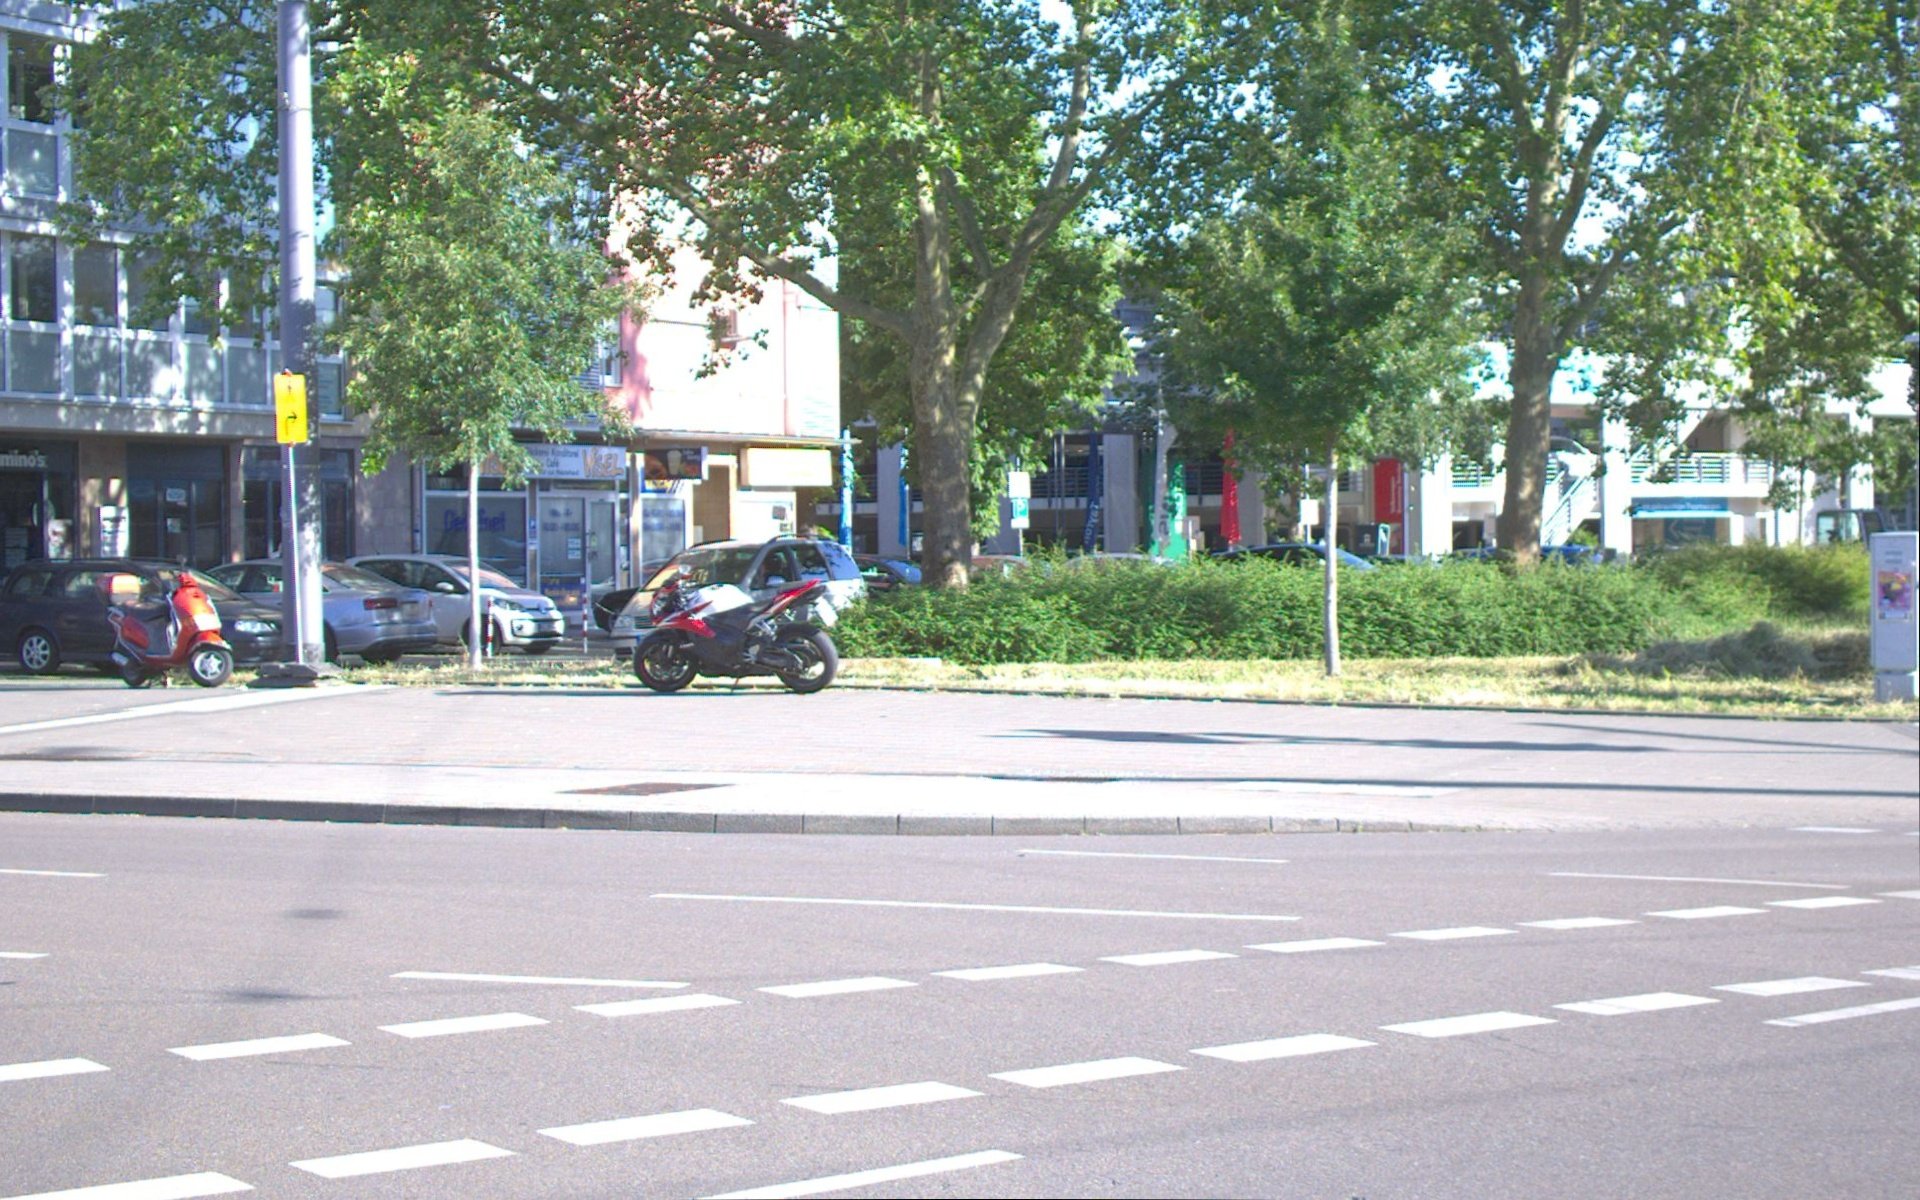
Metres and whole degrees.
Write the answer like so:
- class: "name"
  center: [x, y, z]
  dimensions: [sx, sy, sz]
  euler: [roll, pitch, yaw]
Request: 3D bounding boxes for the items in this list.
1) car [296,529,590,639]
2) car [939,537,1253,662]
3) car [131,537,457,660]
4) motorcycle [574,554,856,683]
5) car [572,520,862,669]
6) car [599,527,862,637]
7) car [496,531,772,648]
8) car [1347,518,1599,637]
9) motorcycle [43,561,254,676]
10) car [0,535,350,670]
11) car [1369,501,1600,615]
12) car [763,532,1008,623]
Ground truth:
- class: "car"
  center: [-7.732, -0.266, 51.364]
  dimensions: [3.993, 1.415, 1.854]
  euler: [3, 3, 27]
- class: "car"
  center: [1.815, 0.006, 45.065]
  dimensions: [3.987, 1.505, 1.800]
  euler: [-1, -1, 5]
- class: "car"
  center: [-8.963, -0.056, 46.248]
  dimensions: [3.993, 1.415, 1.854]
  euler: [3, 3, 27]
- class: "motorcycle"
  center: [-2.154, 0.159, 30.395]
  dimensions: [2.275, 1.070, 1.040]
  euler: [0, 3, 11]
- class: "car"
  center: [-3.080, -0.105, 44.404]
  dimensions: [1.918, 1.692, 3.995]
  euler: [-3, 1, 26]
- class: "car"
  center: [-3.859, -0.334, 57.775]
  dimensions: [3.993, 1.629, 1.854]
  euler: [3, 3, 27]
- class: "car"
  center: [-5.201, -0.198, 54.802]
  dimensions: [3.993, 1.629, 1.854]
  euler: [3, 3, 27]
- class: "car"
  center: [9.016, -0.424, 60.471]
  dimensions: [3.992, 1.862, 1.854]
  euler: [3, 3, 24]
- class: "motorcycle"
  center: [-7.919, 0.179, 33.566]
  dimensions: [1.800, 1.042, 0.880]
  euler: [-2, 2, 24]
- class: "car"
  center: [-10.102, 0.000, 43.861]
  dimensions: [4.219, 1.477, 1.854]
  euler: [2, 3, 23]
- class: "car"
  center: [10.046, -0.828, 65.856]
  dimensions: [3.992, 1.992, 1.854]
  euler: [3, 3, 24]
- class: "car"
  center: [-1.343, -0.427, 61.826]
  dimensions: [3.993, 1.415, 1.854]
  euler: [3, 3, 27]
